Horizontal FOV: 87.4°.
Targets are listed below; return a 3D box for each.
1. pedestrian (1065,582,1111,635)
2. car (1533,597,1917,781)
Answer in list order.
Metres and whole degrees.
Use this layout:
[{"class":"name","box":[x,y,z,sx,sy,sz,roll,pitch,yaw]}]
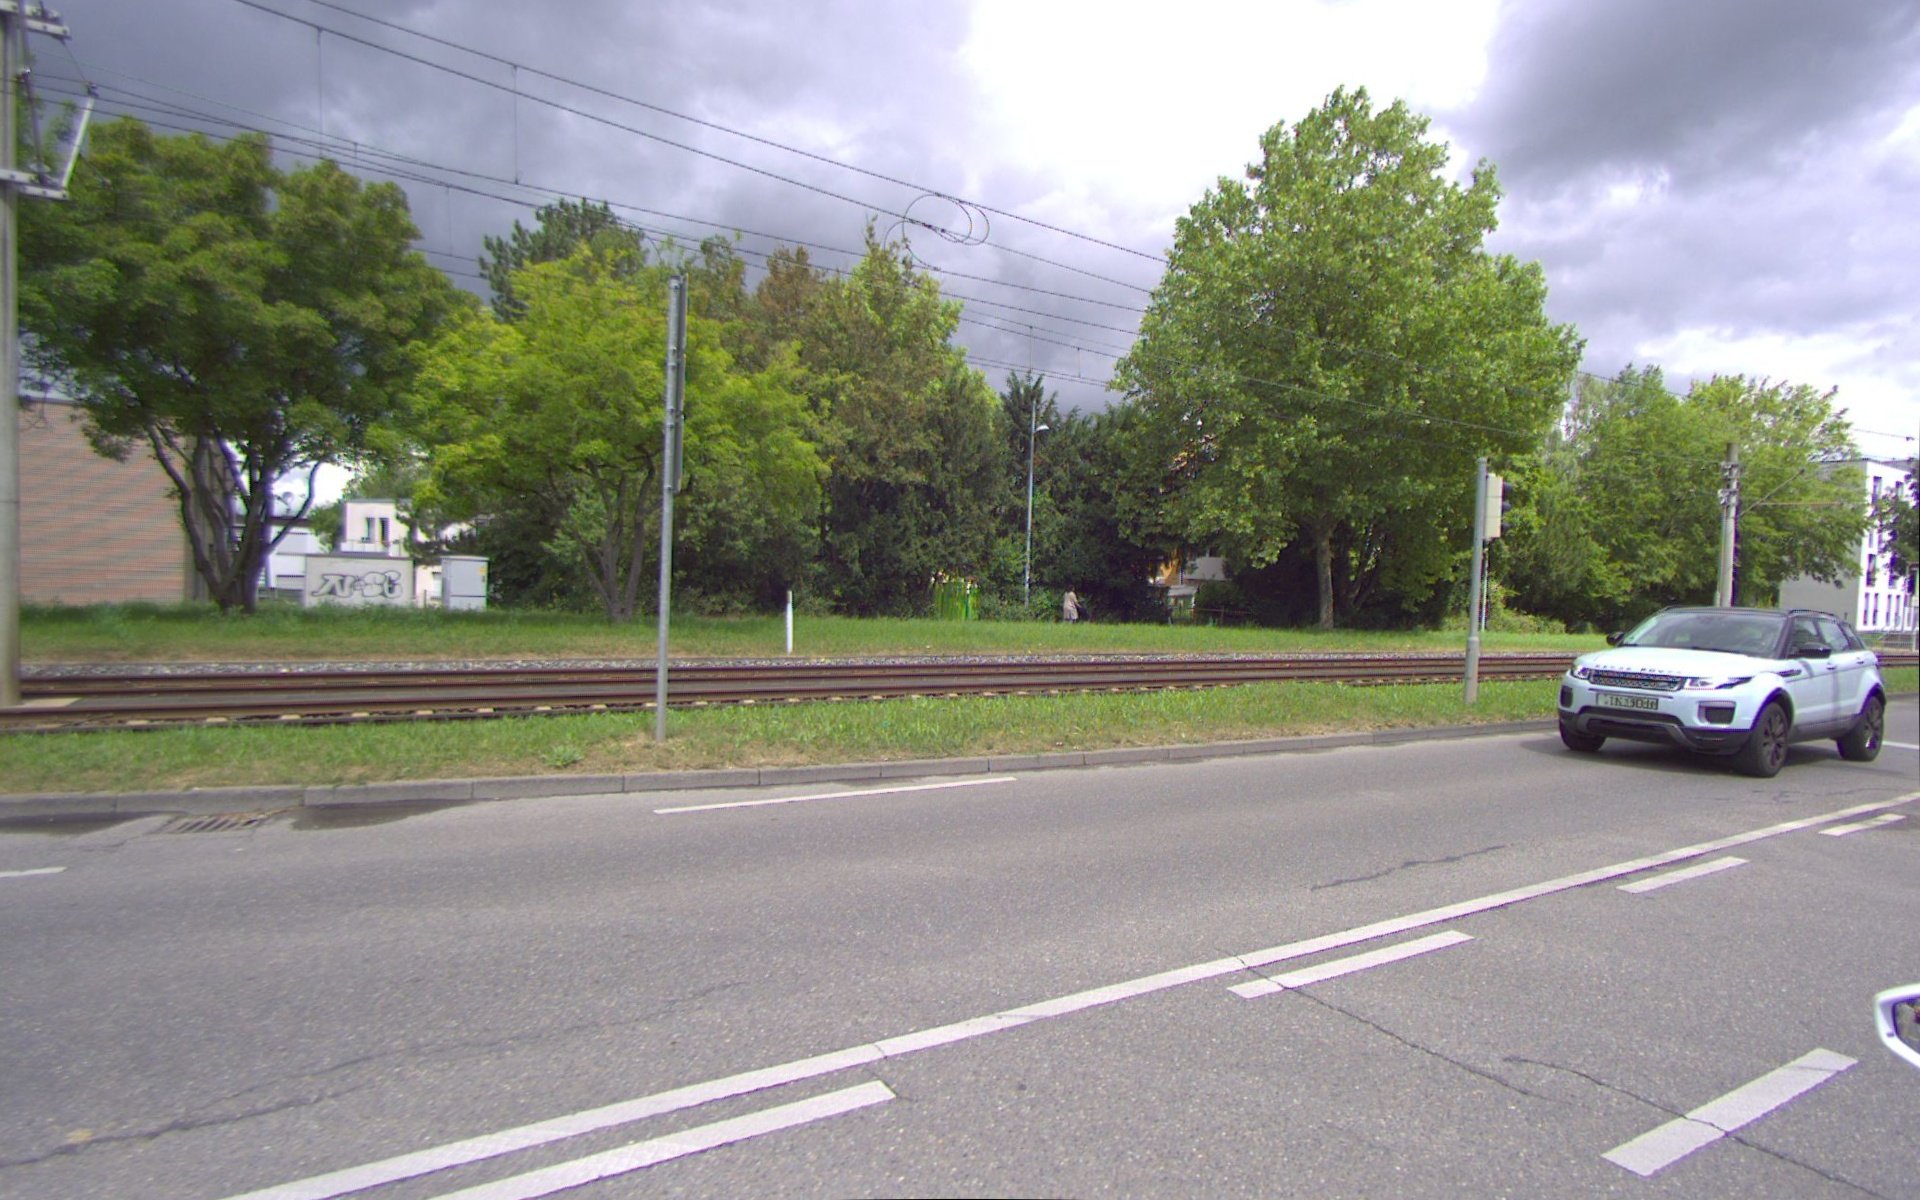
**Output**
[{"class":"pedestrian","box":[4.900,0.309,38.500,1.347,1.959,1.029,1,2,-30]},{"class":"car","box":[8.562,0.863,11.141,4.556,1.632,1.850,2,1,-32]}]
